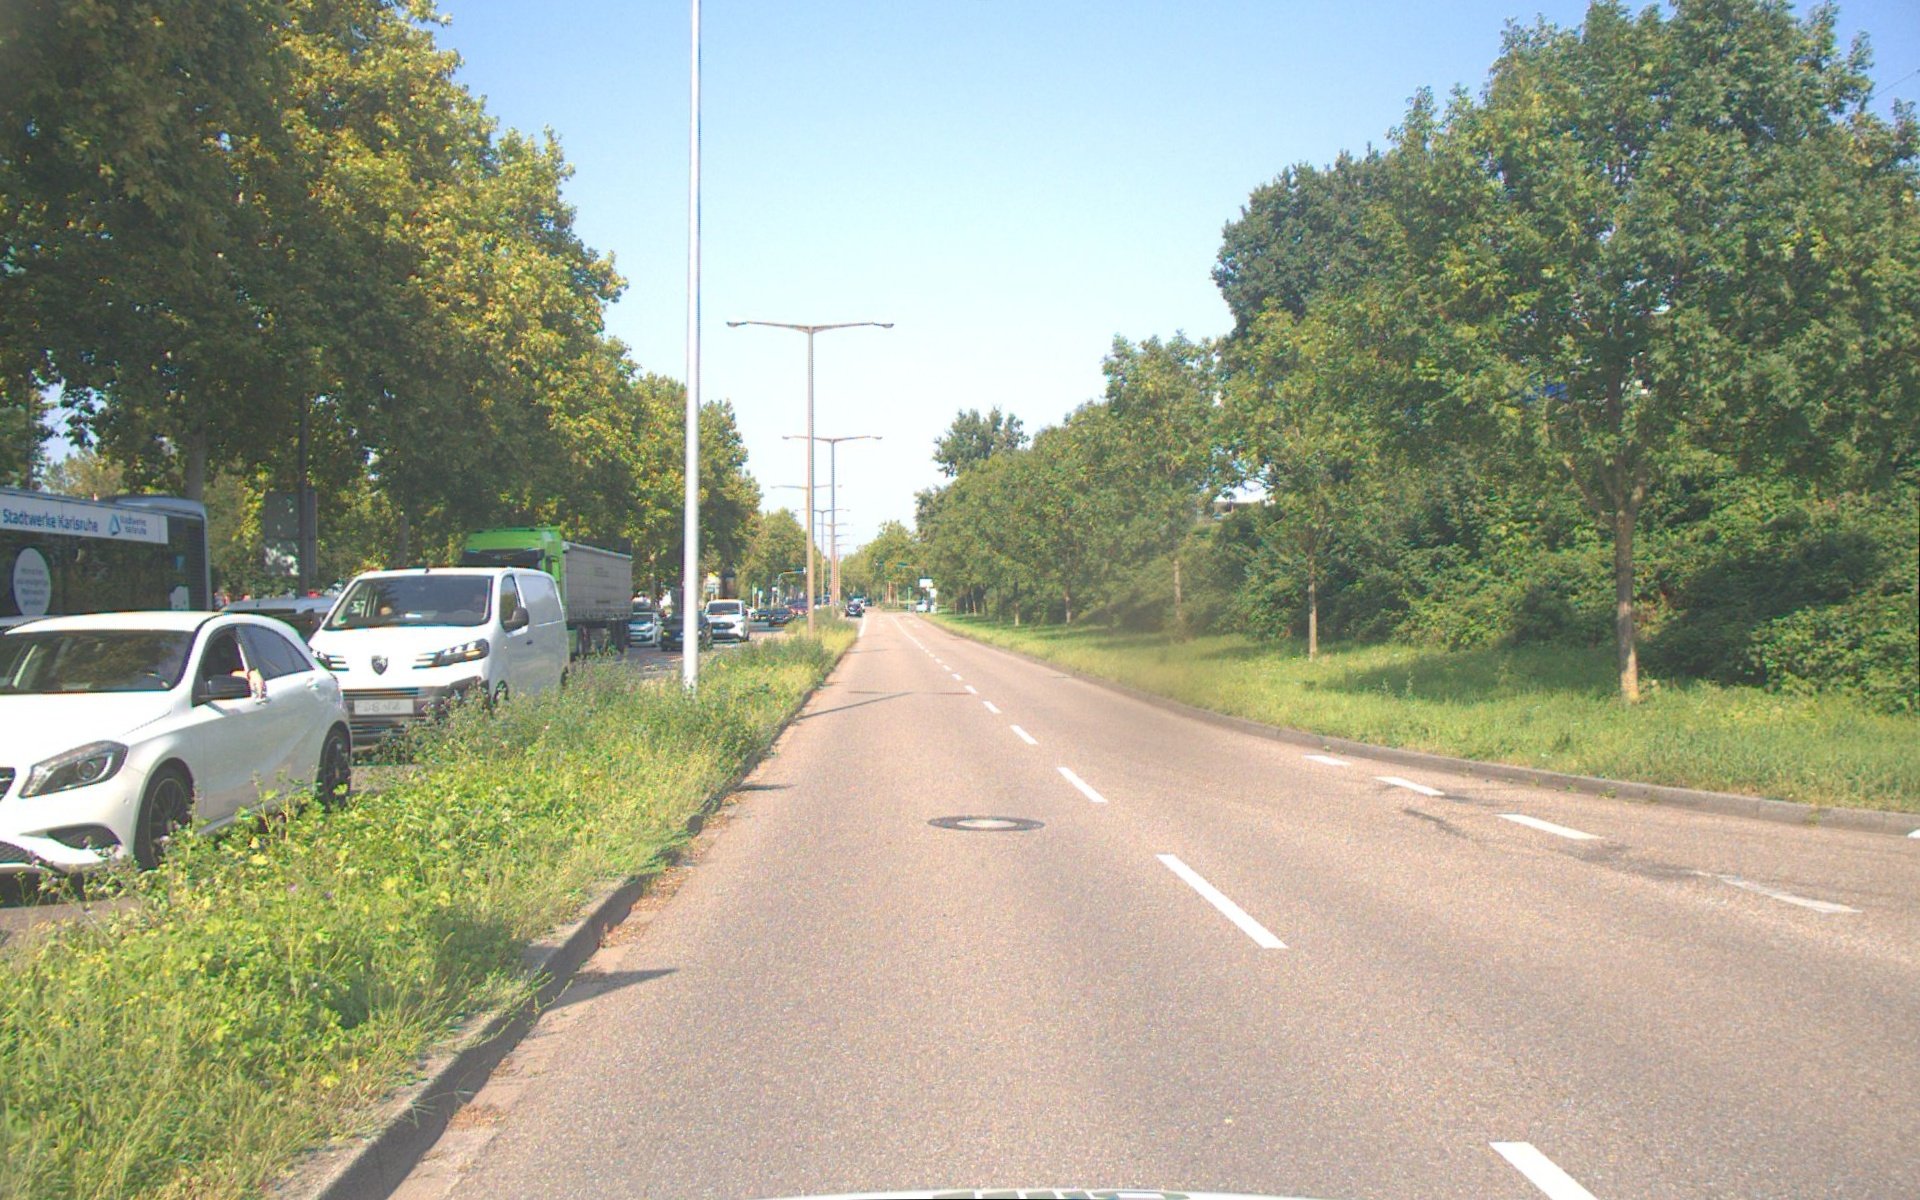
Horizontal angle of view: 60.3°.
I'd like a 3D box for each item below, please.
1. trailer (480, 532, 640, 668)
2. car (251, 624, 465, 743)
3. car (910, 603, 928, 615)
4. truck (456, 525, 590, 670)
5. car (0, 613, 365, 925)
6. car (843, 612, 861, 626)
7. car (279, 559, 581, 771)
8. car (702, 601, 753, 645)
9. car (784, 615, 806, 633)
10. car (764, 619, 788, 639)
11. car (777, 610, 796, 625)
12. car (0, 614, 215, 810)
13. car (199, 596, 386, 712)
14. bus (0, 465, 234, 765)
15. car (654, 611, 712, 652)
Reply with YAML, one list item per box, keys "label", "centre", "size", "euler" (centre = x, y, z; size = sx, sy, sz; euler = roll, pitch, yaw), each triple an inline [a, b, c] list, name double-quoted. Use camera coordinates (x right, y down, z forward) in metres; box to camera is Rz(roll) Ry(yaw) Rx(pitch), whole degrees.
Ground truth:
- label: "trailer"
  centre: [-13.009, 0.096, 55.148]
  size: [2.581, 3.888, 13.802]
  euler: [-2, -1, -3]
- label: "car"
  centre: [-8.354, 1.100, 23.323]
  size: [1.614, 1.458, 4.187]
  euler: [-2, -1, -3]
- label: "car"
  centre: [-5.138, 1.157, 207.581]
  size: [1.756, 1.537, 4.002]
  euler: [0, -1, 6]
- label: "truck"
  centre: [-12.654, -0.030, 48.342]
  size: [2.556, 3.886, 5.887]
  euler: [-2, -1, -3]
- label: "car"
  centre: [-4.982, 0.814, 9.796]
  size: [1.675, 1.427, 4.080]
  euler: [0, 0, -4]
- label: "car"
  centre: [-11.397, 2.003, 175.381]
  size: [1.657, 1.512, 4.000]
  euler: [0, 0, 0]
- label: "car"
  centre: [-5.432, 0.624, 17.674]
  size: [1.873, 1.896, 4.886]
  euler: [-2, -1, -3]
- label: "car"
  centre: [-10.913, 1.070, 77.901]
  size: [1.954, 1.988, 5.032]
  euler: [0, 0, -3]
- label: "car"
  centre: [-15.820, 2.300, 158.788]
  size: [1.915, 1.754, 4.583]
  euler: [0, -1, -3]
- label: "car"
  centre: [-14.534, 2.304, 130.827]
  size: [1.712, 1.505, 4.582]
  euler: [-2, -1, -5]
- label: "car"
  centre: [-20.549, 2.051, 196.331]
  size: [1.954, 1.790, 4.474]
  euler: [0, 0, -3]
- label: "car"
  centre: [-8.155, 0.909, 14.468]
  size: [1.672, 1.492, 3.819]
  euler: [-2, -1, -3]
- label: "car"
  centre: [-12.209, 0.947, 30.578]
  size: [1.670, 1.921, 4.746]
  euler: [-2, -1, -3]
- label: "bus"
  centre: [-11.292, 0.148, 17.168]
  size: [2.538, 3.133, 12.304]
  euler: [0, -1, -3]
- label: "car"
  centre: [-10.341, 1.175, 61.896]
  size: [1.582, 1.423, 3.856]
  euler: [-2, -1, -2]
